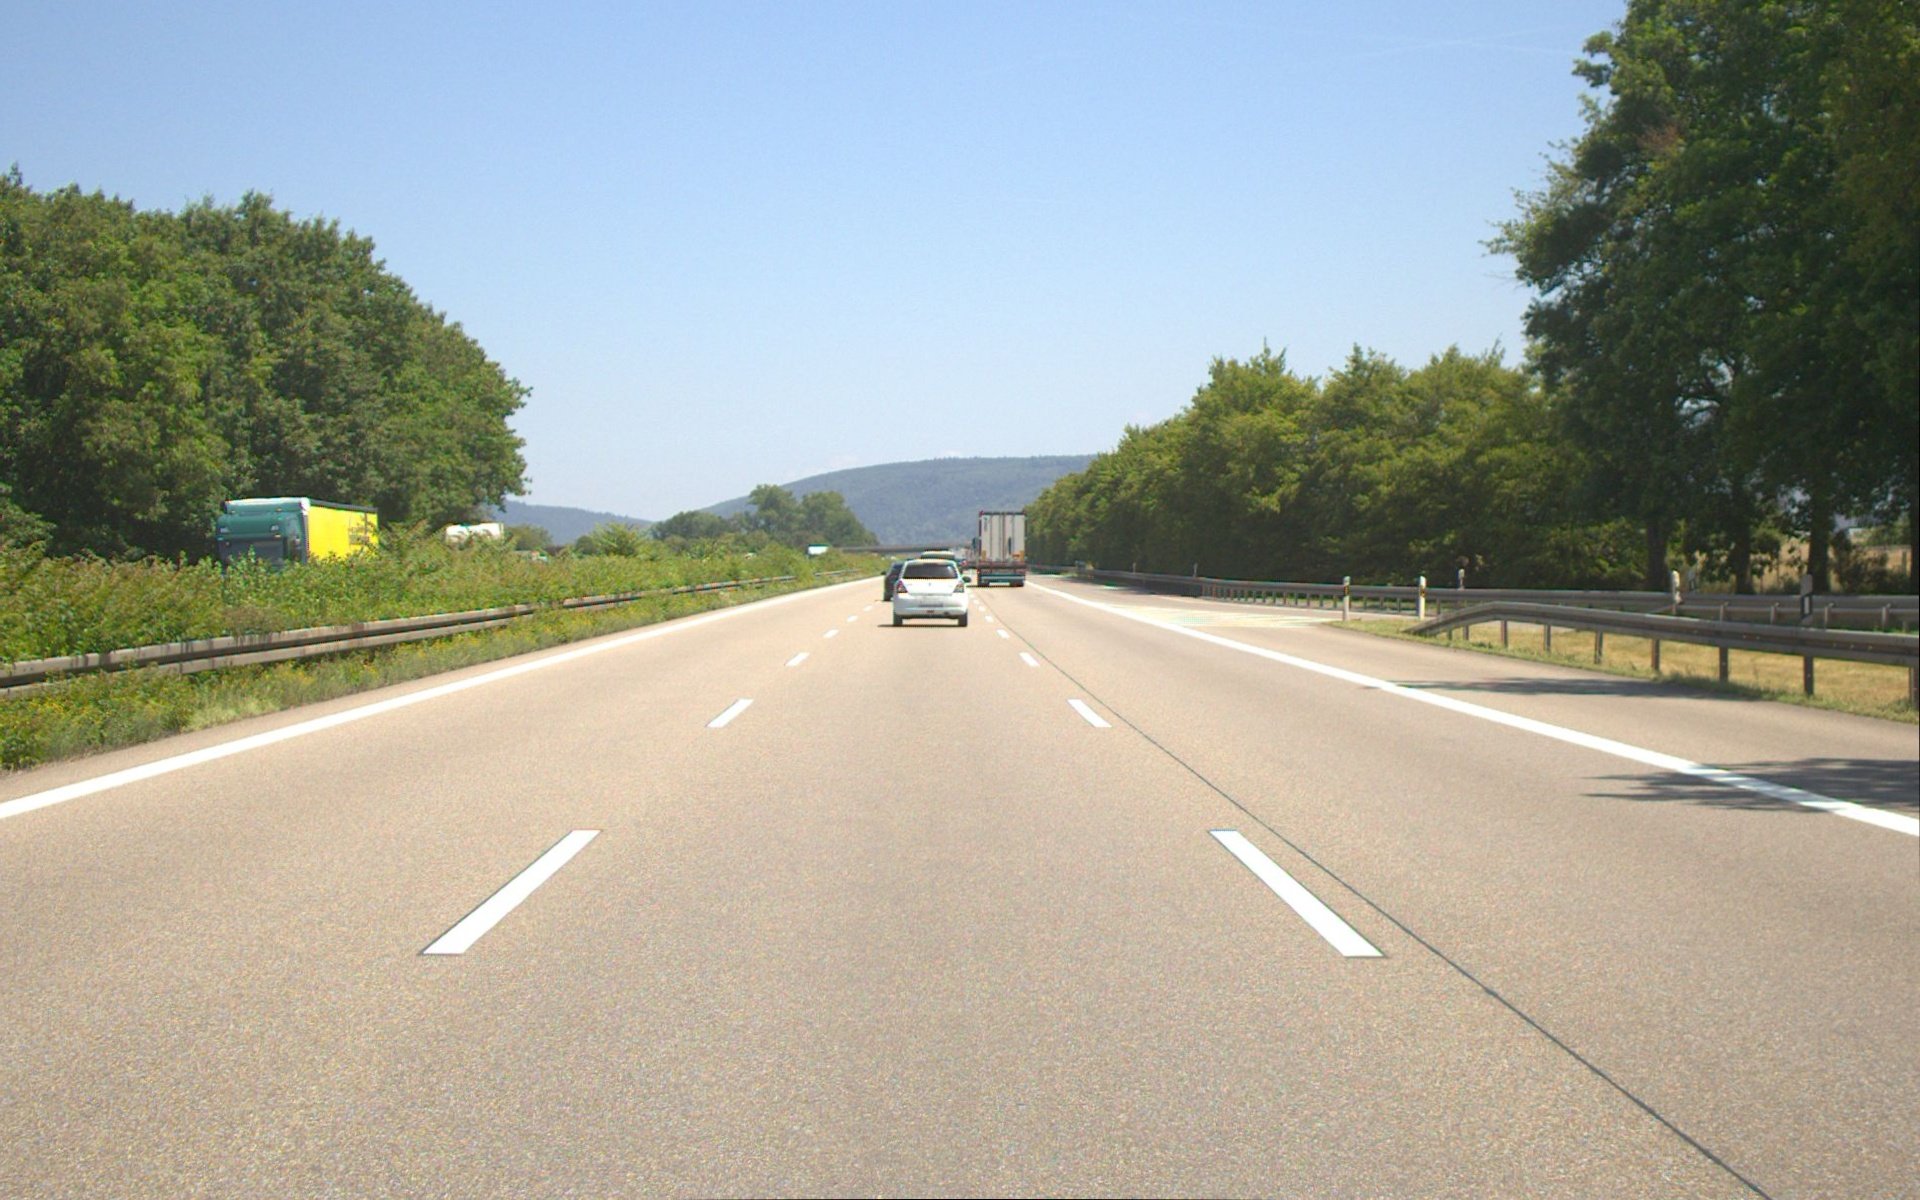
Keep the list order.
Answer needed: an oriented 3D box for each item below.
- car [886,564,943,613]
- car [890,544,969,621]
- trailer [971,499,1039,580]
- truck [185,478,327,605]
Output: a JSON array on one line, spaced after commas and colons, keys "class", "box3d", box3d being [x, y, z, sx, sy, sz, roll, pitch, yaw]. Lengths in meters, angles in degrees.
[{"class": "car", "box3d": [-1.642, -0.431, 124.748, 1.993, 1.706, 4.000, 1, 1, -1]}, {"class": "car", "box3d": [-0.694, -0.416, 78.381, 1.732, 1.678, 4.000, -1, 1, -1]}, {"class": "trailer", "box3d": [2.567, -3.306, 191.451, 3.218, 4.330, 13.628, 1, 1, 3]}, {"class": "truck", "box3d": [-21.971, -1.816, 107.629, 3.197, 3.812, 6.395, 1, 1, -1]}]
